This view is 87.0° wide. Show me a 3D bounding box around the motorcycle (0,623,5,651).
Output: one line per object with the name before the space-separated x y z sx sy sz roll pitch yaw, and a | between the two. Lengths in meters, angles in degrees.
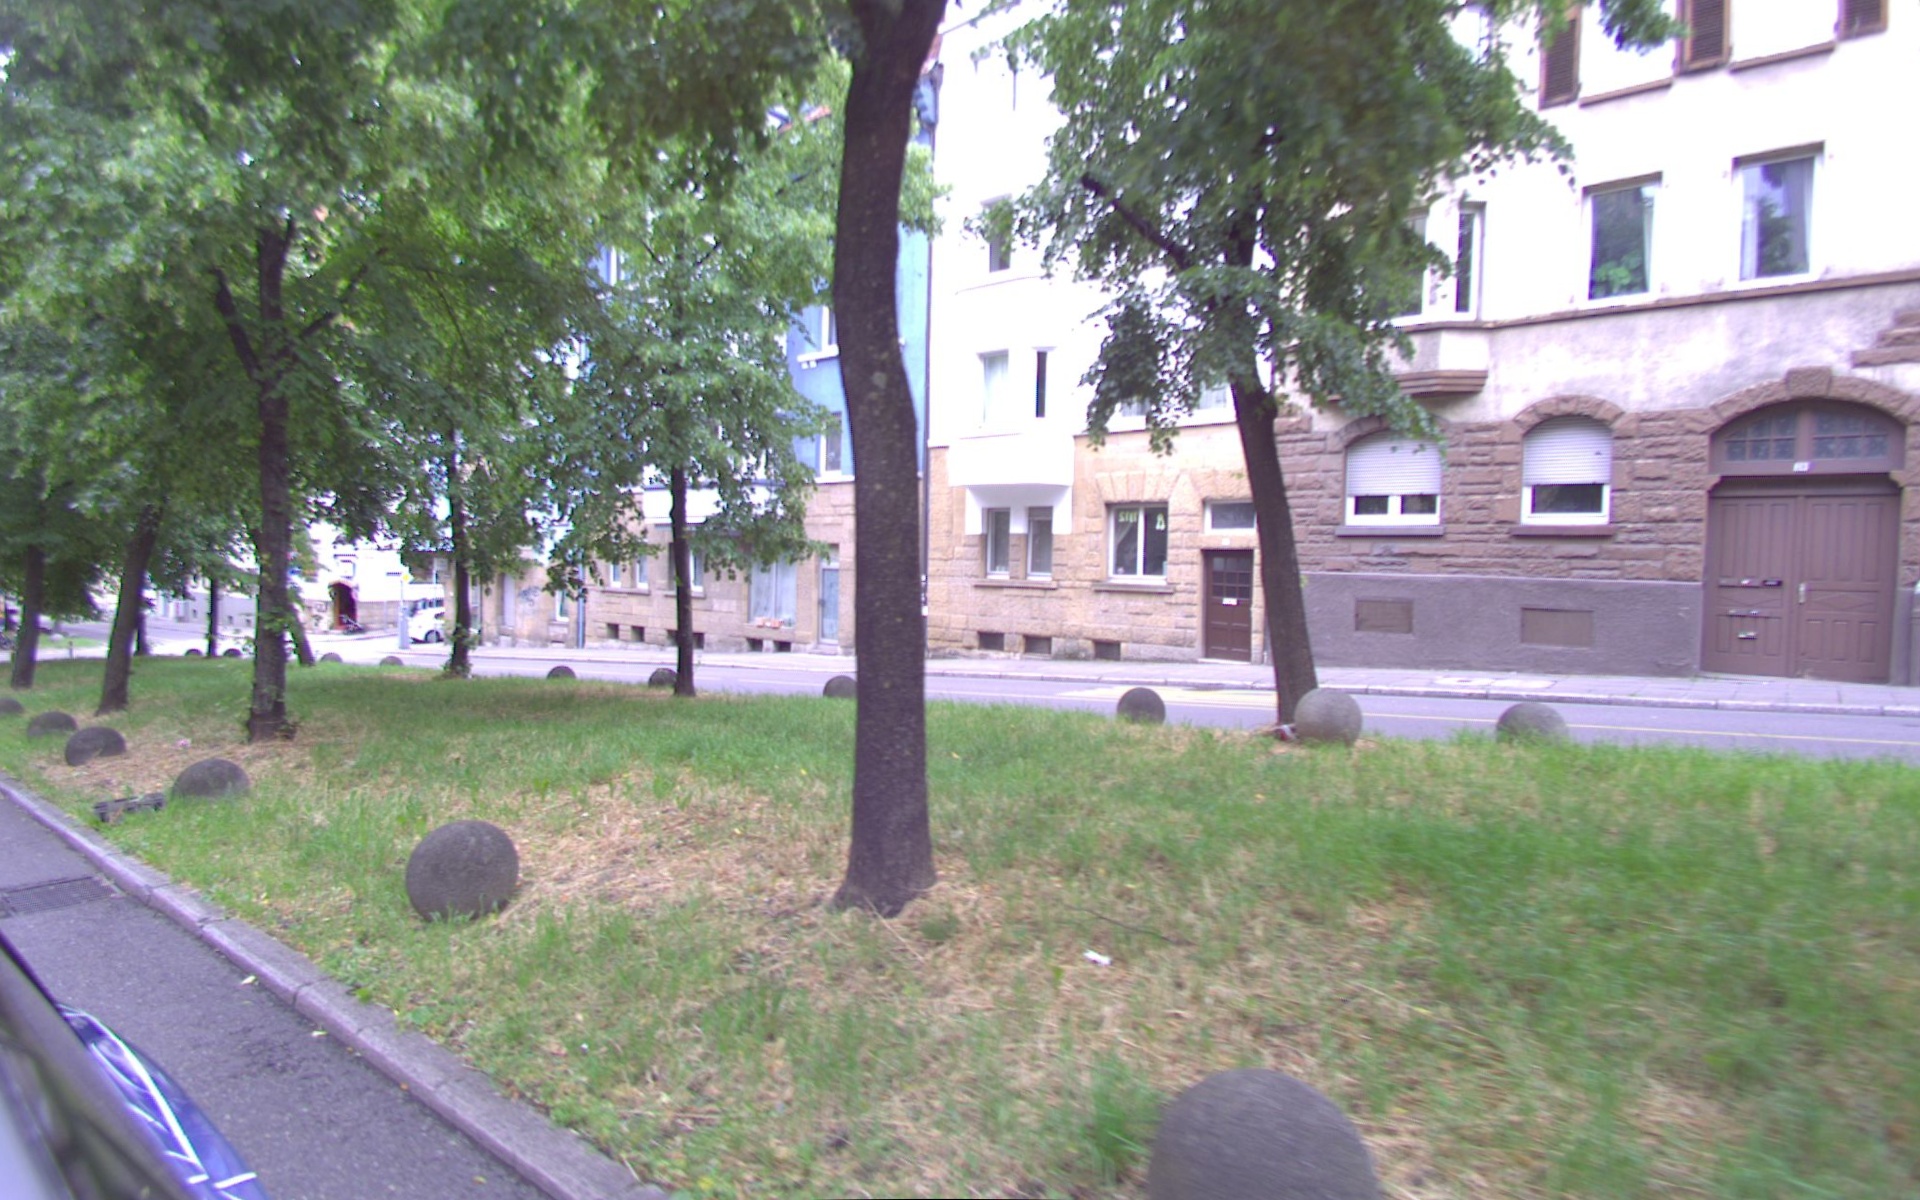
motorcycle | -39.800 1.542 40.921 0.551 1.104 1.712 3 3 44

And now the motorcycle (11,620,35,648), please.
motorcycle | -40.095 1.435 43.322 0.740 1.081 1.853 -1 3 -42

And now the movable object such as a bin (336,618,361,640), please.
movable object such as a bin | -30.005 1.394 49.661 0.667 1.001 0.877 0 3 39

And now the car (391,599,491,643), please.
car | -25.965 1.002 50.736 1.870 1.712 3.958 0 6 41

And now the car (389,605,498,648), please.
car | -23.540 1.159 46.241 1.869 1.480 3.961 2 6 37
